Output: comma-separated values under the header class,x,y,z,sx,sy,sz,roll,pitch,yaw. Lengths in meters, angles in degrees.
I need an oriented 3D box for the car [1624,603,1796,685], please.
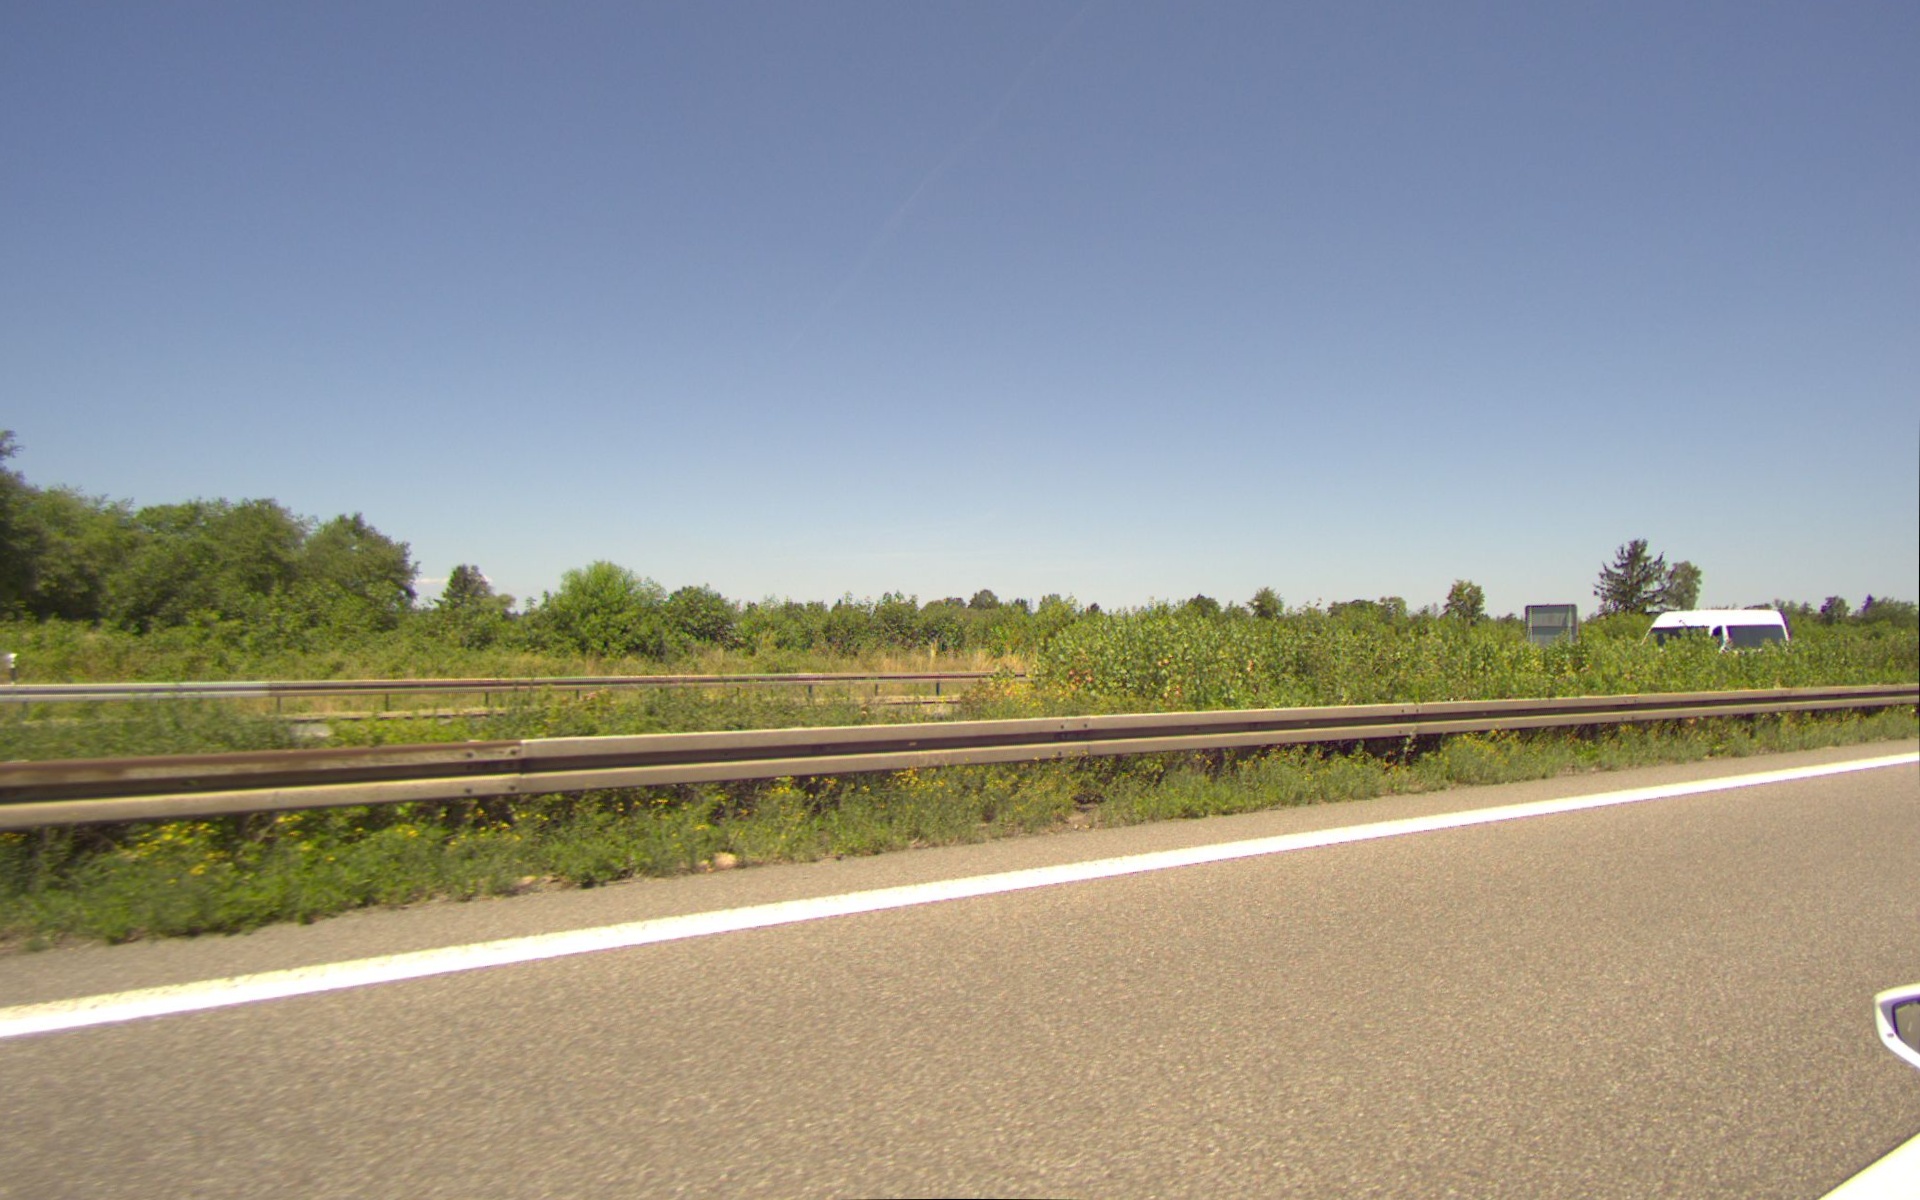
class,x,y,z,sx,sy,sz,roll,pitch,yaw
car,24.409,1.400,32.600,6.656,2.426,2.069,2,0,-31
